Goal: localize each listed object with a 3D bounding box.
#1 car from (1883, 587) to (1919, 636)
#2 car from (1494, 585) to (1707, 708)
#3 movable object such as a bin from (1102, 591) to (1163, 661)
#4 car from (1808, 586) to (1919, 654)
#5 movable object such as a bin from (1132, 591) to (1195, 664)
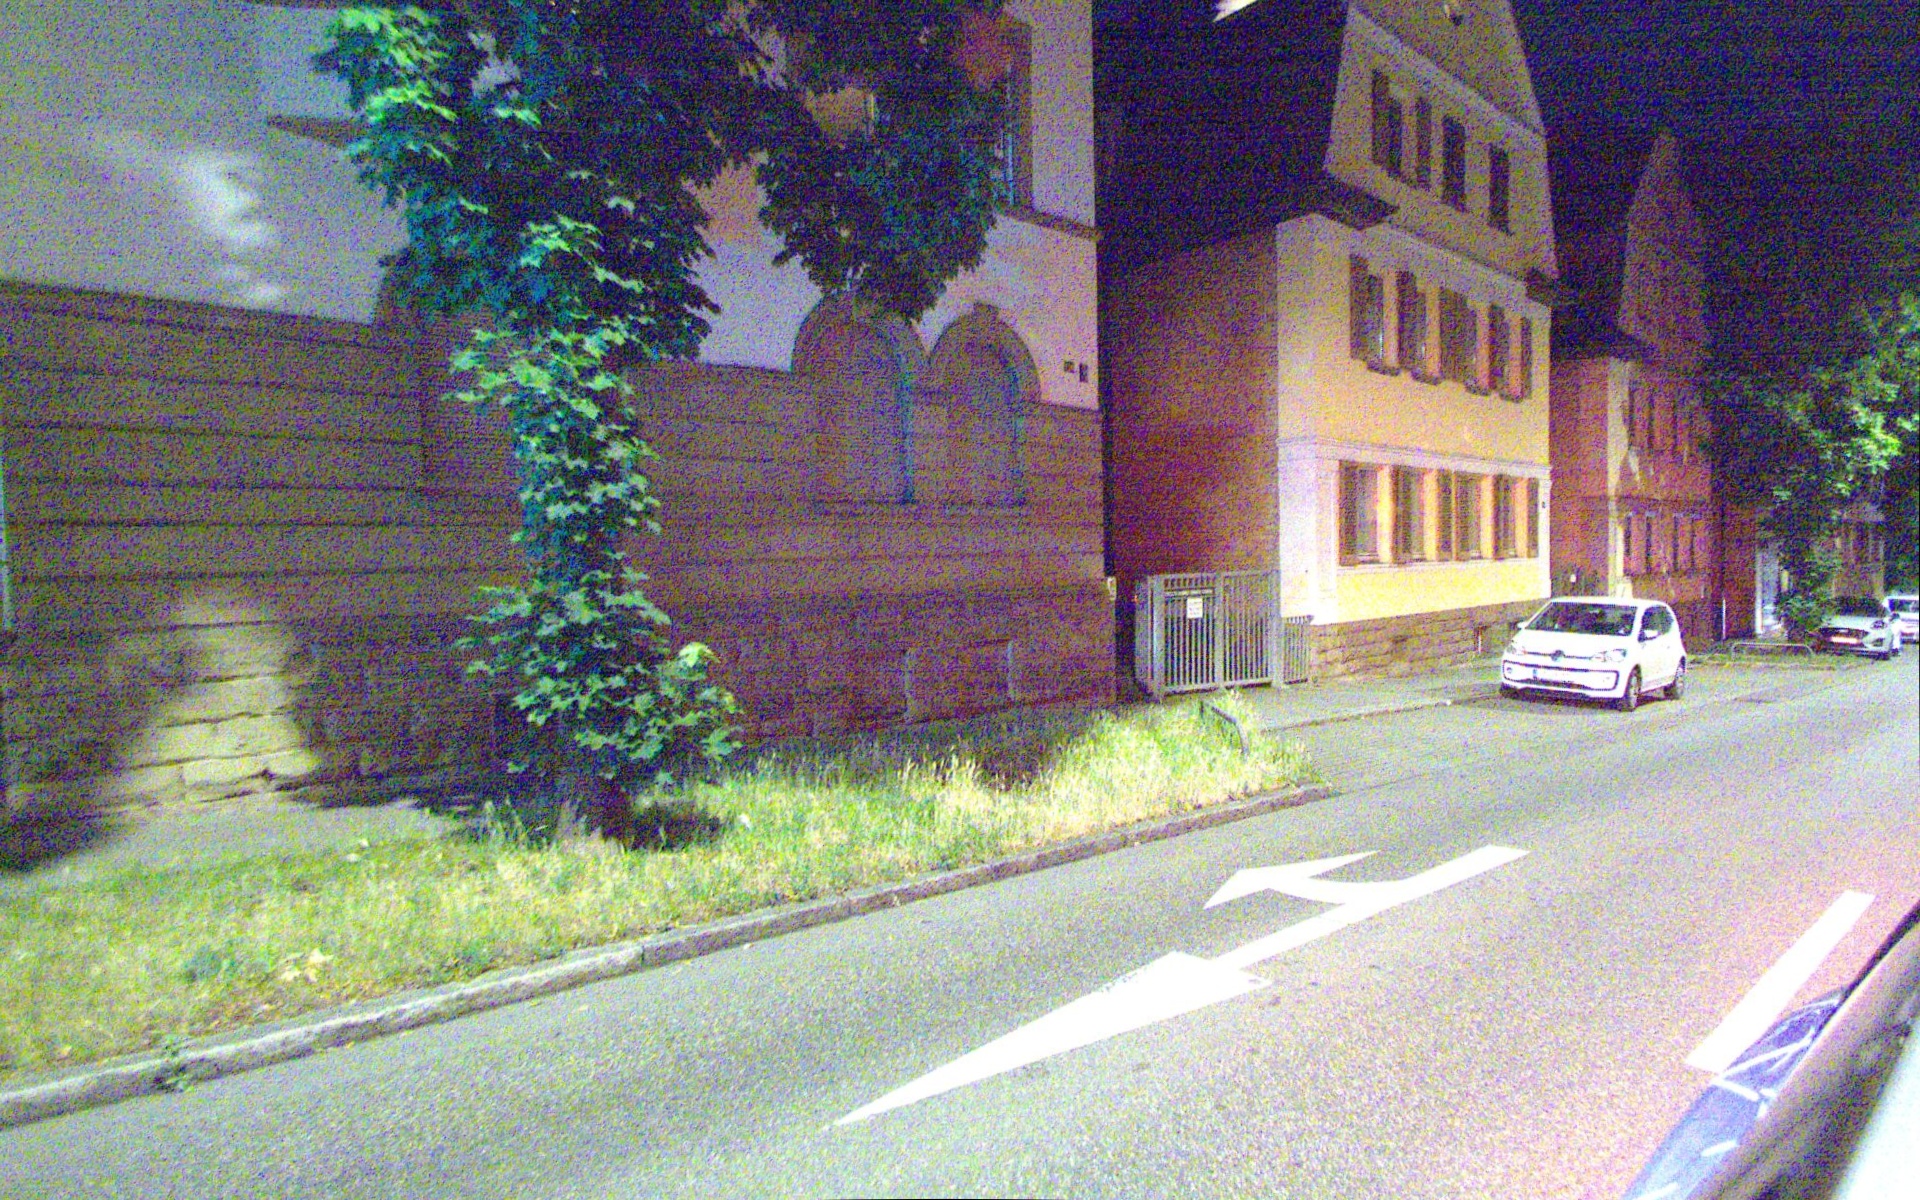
[{"bbox_3d":[33.793,0.387,35.345,4.281,1.616,1.742,0,3,-40],"label":"car"},{"bbox_3d":[9.326,0.575,14.654,3.541,1.503,1.671,0,2,-42],"label":"car"},{"bbox_3d":[2.678,0.390,15.723,0.742,1.062,0.608,0,0,-41],"label":"movable object such as a bin"},{"bbox_3d":[23.810,0.468,26.575,3.977,1.572,1.862,0,3,-43],"label":"car"},{"bbox_3d":[3.053,0.398,15.191,0.742,1.062,0.608,0,0,-41],"label":"movable object such as a bin"}]
